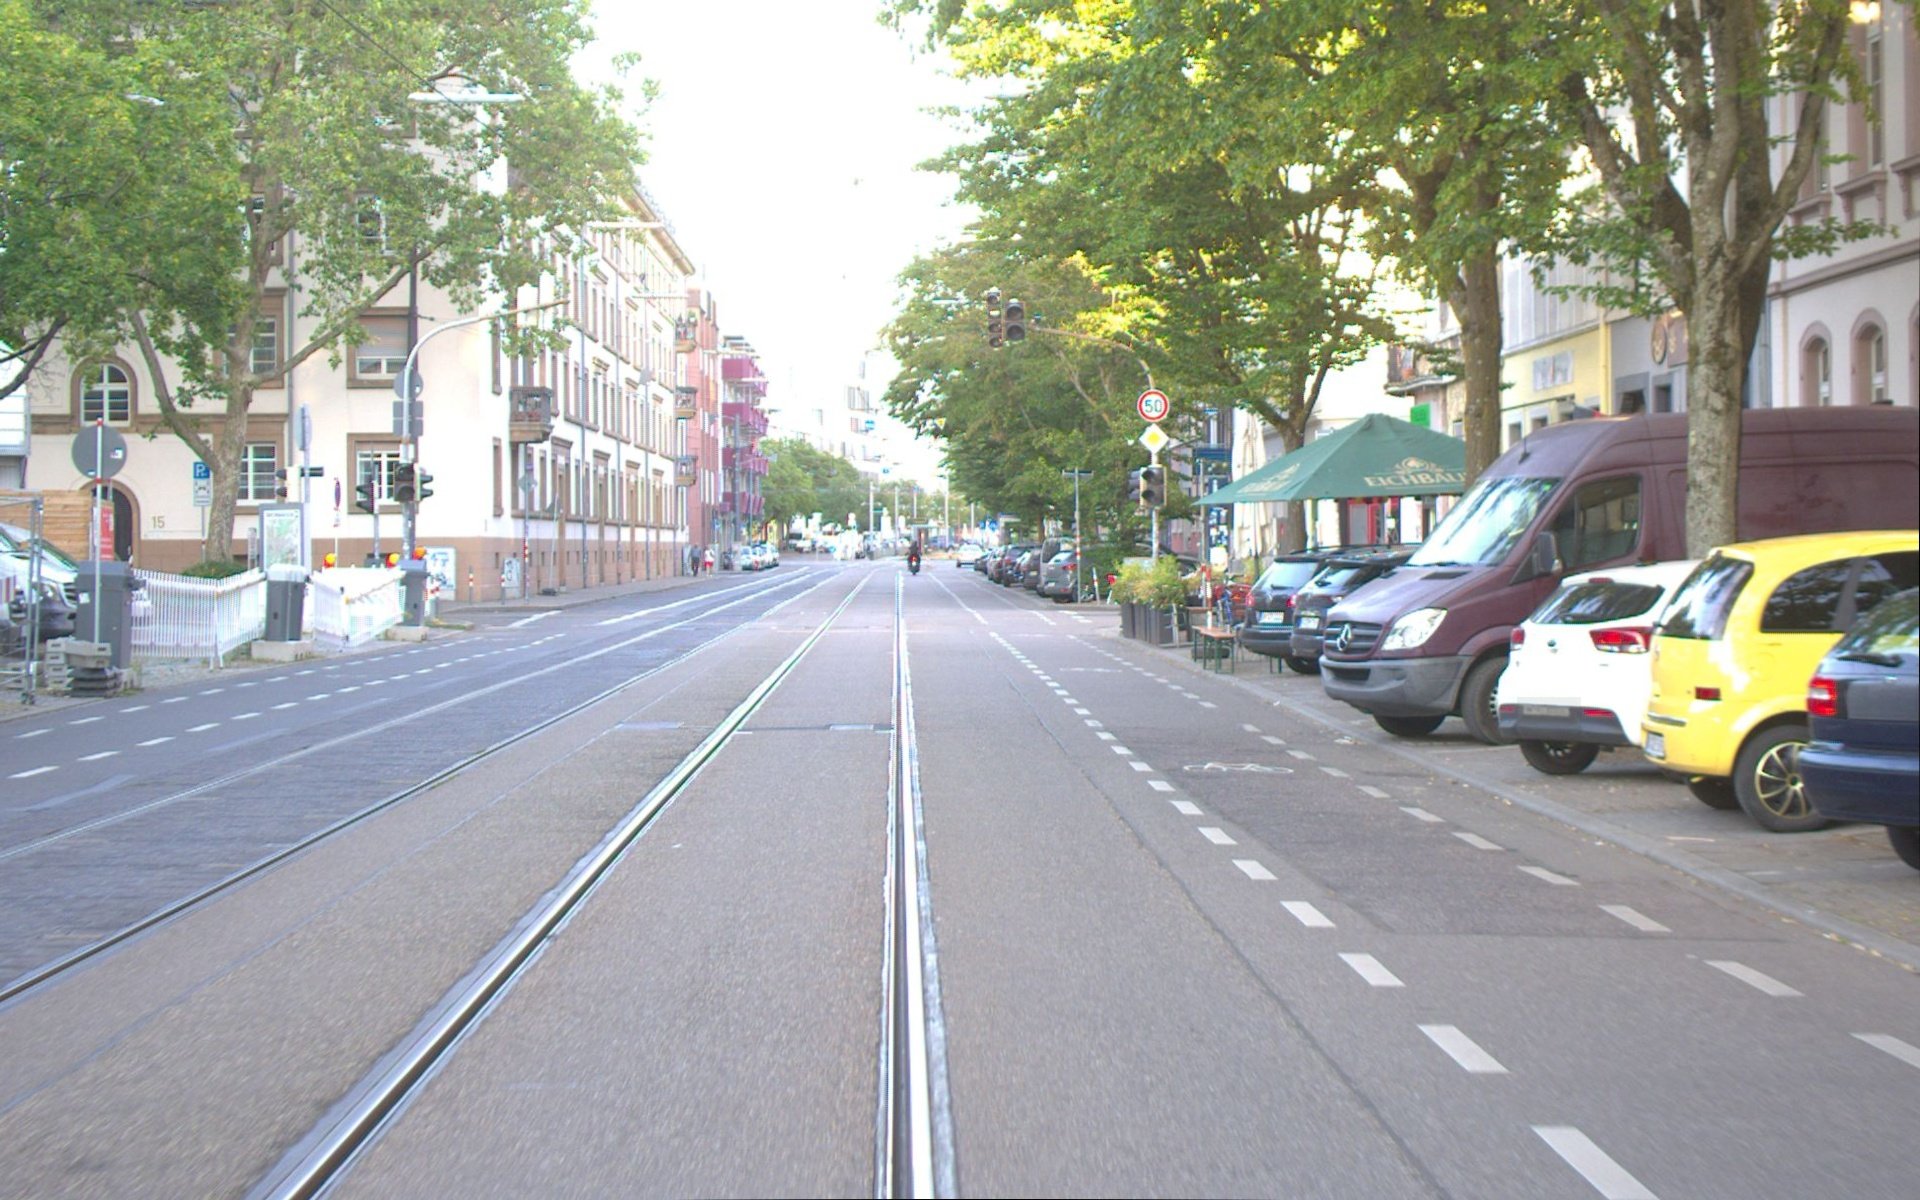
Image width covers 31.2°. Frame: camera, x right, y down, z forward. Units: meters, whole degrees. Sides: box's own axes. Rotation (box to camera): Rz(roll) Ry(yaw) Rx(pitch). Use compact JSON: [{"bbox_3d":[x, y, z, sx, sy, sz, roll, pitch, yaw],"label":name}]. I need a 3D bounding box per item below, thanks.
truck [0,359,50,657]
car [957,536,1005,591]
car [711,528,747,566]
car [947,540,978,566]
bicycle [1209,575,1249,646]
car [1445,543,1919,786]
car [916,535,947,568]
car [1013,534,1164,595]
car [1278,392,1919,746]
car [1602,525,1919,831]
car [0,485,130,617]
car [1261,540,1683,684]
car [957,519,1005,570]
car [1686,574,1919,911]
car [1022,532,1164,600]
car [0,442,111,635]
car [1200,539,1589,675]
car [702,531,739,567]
[{"bbox_3d":[-14.746,-1.227,41.077,7.056,3.468,2.542,2,1,-4],"label":"truck"},{"bbox_3d":[0.777,-1.370,129.147,1.721,2.007,4.000,1,1,-1],"label":"car"},{"bbox_3d":[-13.451,-3.078,200.371,1.898,2.171,4.000,1,1,-1],"label":"car"},{"bbox_3d":[0.153,-3.119,226.639,1.963,1.713,4.000,1,1,-1],"label":"car"},{"bbox_3d":[4.024,0.149,51.520,0.418,1.012,1.830,1,1,-1],"label":"bicycle"},{"bbox_3d":[5.548,0.389,23.529,3.950,1.481,1.921,-2,0,-24],"label":"car"},{"bbox_3d":[-1.809,-3.055,215.320,1.898,2.007,4.000,1,1,-1],"label":"car"},{"bbox_3d":[3.358,-0.930,90.390,3.887,1.587,1.861,0,1,0],"label":"car"},{"bbox_3d":[5.398,-0.288,28.176,5.093,2.633,2.022,-2,1,-17],"label":"car"},{"bbox_3d":[5.821,0.371,19.509,3.950,1.614,1.921,-2,0,0],"label":"car"},{"bbox_3d":[-15.593,-0.828,52.847,5.027,1.938,2.227,2,1,4],"label":"car"},{"bbox_3d":[5.689,0.116,38.375,4.174,1.457,2.009,-1,1,-17],"label":"car"},{"bbox_3d":[0.823,-2.215,137.470,1.804,2.007,4.000,1,1,-1],"label":"car"},{"bbox_3d":[5.688,0.557,16.131,4.120,1.420,1.921,-2,1,-26],"label":"car"},{"bbox_3d":[3.676,-0.949,95.446,3.887,1.842,1.861,0,0,0],"label":"car"},{"bbox_3d":[-14.588,-0.932,47.038,5.398,2.549,2.227,2,1,-3],"label":"car"},{"bbox_3d":[5.209,0.068,41.227,4.174,1.493,2.009,-2,1,-25],"label":"car"},{"bbox_3d":[-13.633,-2.883,195.726,1.898,2.007,4.000,1,1,-1],"label":"car"}]
